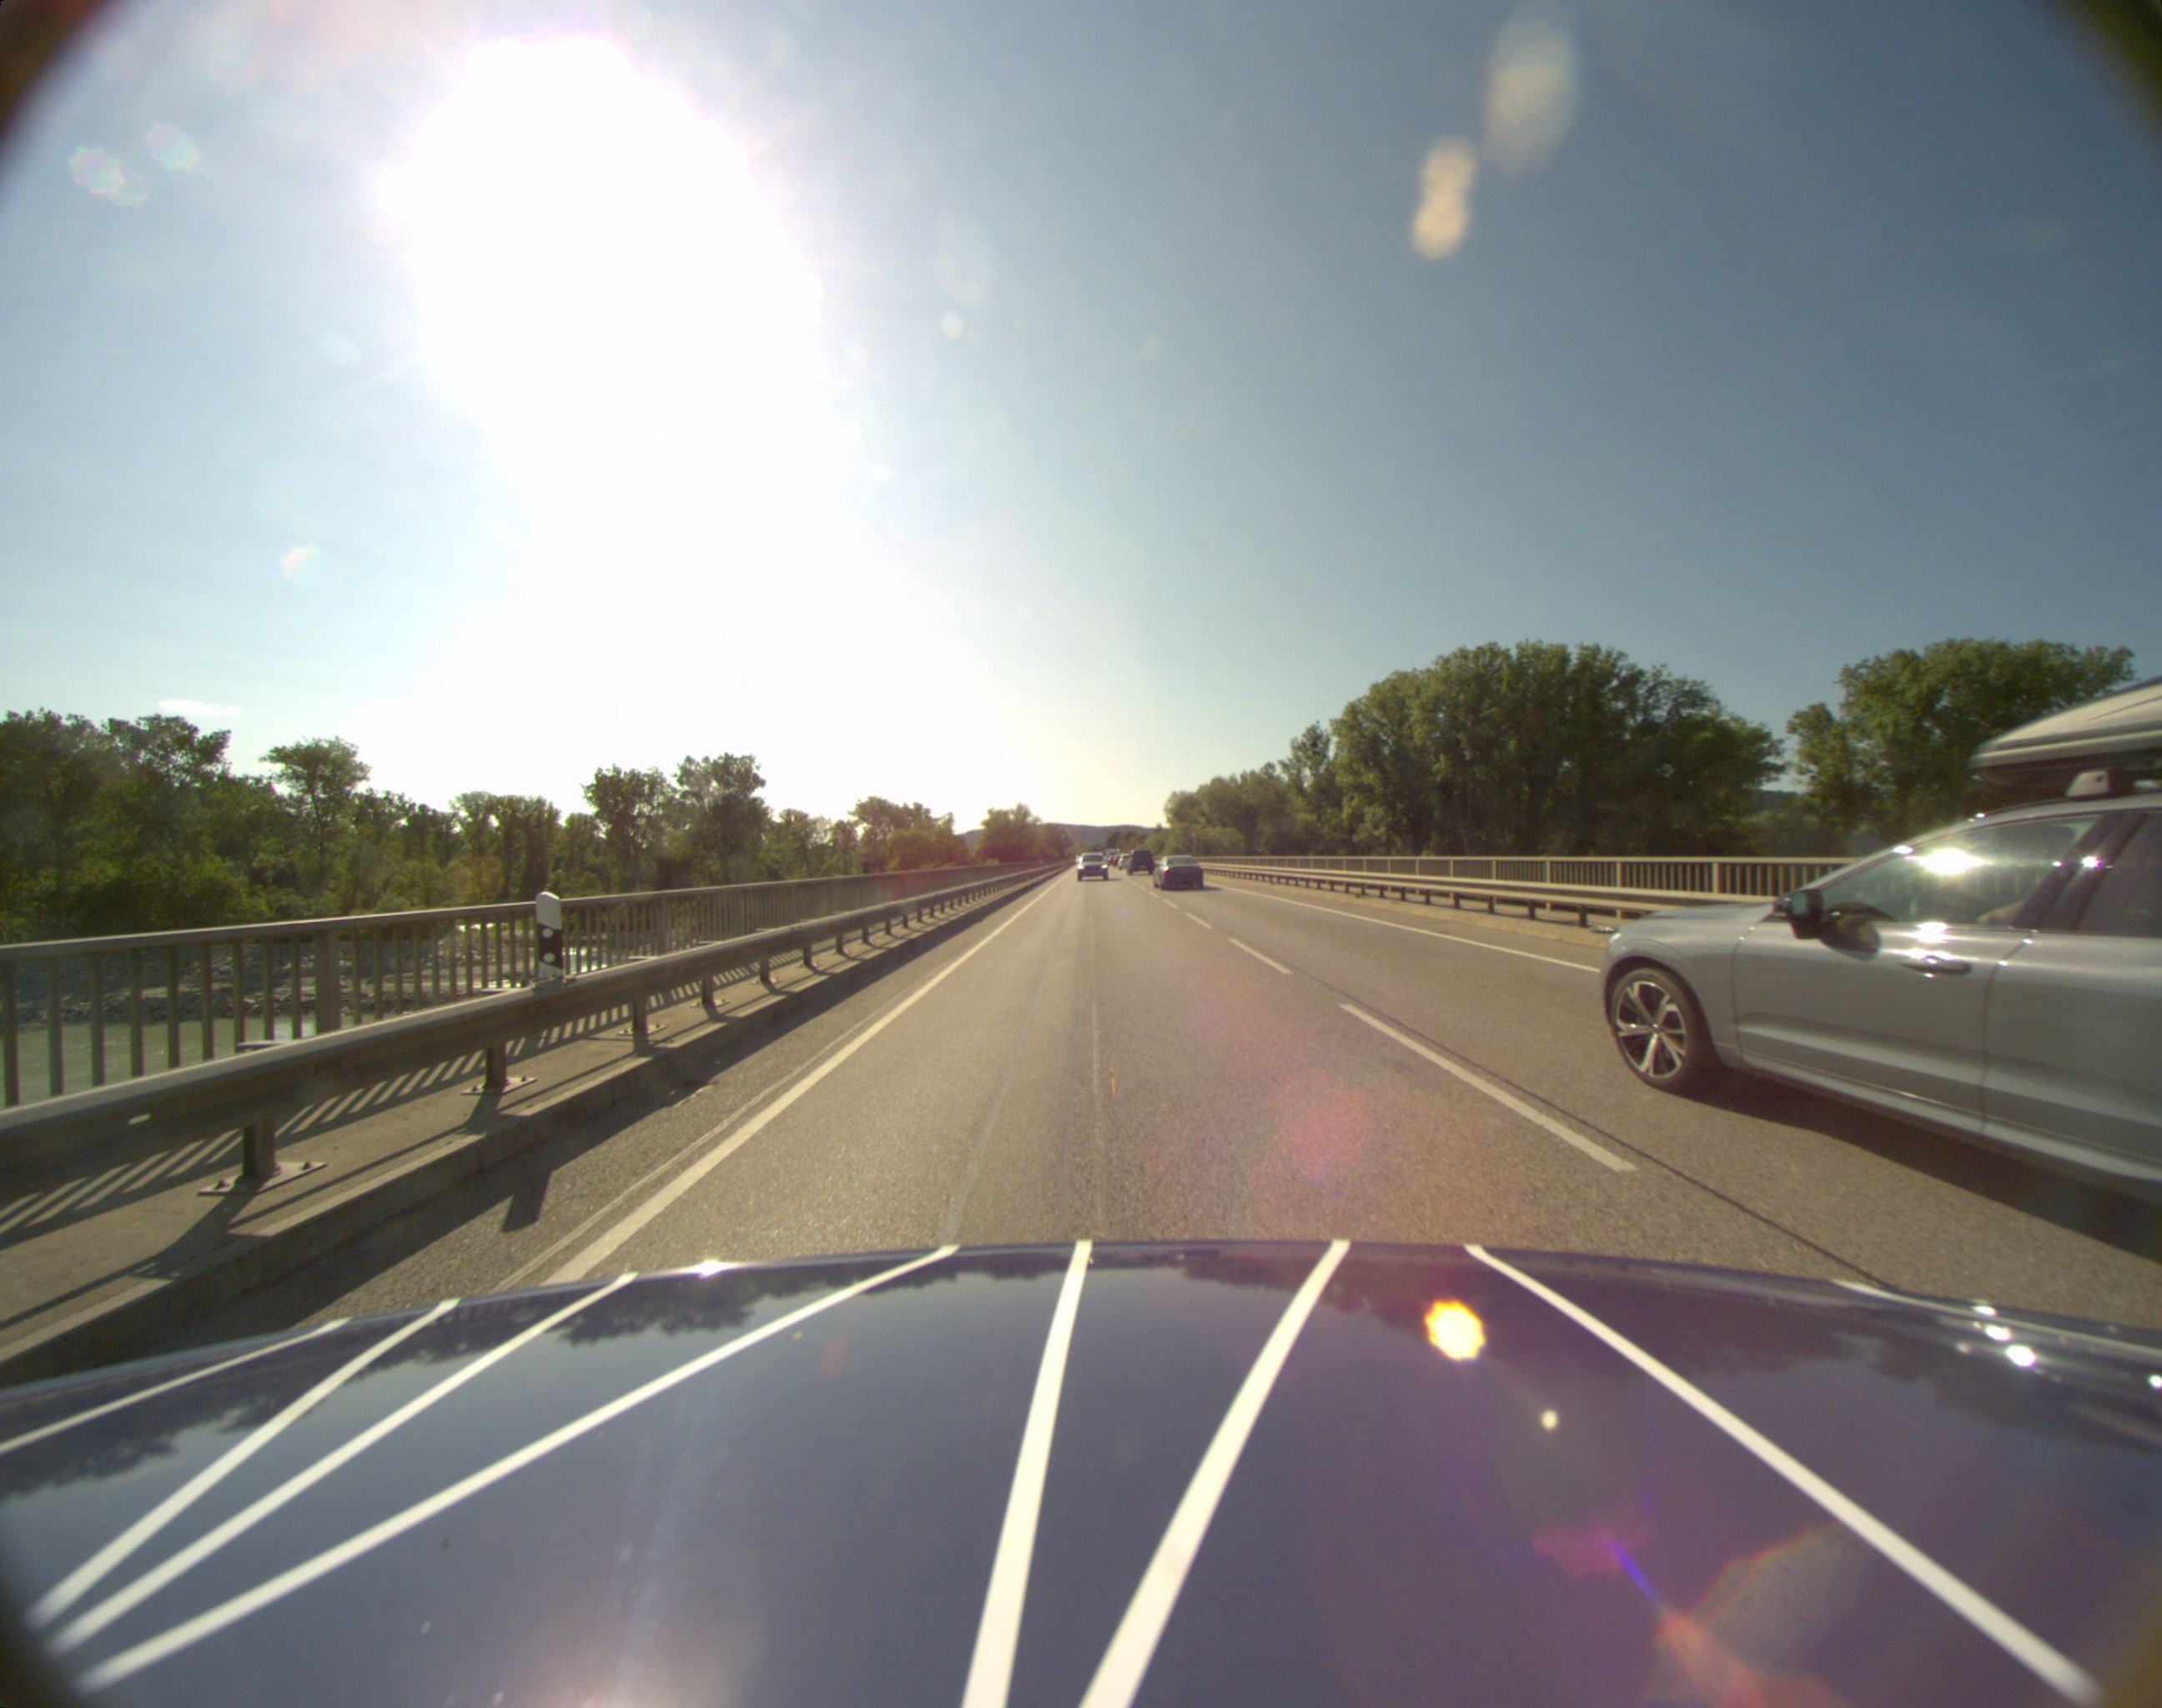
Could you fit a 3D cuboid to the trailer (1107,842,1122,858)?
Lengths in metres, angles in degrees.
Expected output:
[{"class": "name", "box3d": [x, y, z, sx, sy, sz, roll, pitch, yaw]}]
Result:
[{"class": "trailer", "box3d": [6.011, -0.762, 135.868, 2.561, 2.721, 8.063, -3, 0, 3]}]

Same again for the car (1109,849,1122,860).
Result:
[{"class": "car", "box3d": [5.509, 0.084, 120.317, 1.807, 1.651, 4.432, -2, 0, 0]}]

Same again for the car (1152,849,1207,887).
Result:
[{"class": "car", "box3d": [4.210, 0.545, 33.068, 1.770, 1.439, 4.456, -3, 0, 0]}]

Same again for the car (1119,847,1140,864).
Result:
[{"class": "car", "box3d": [5.218, 0.159, 82.315, 1.988, 1.641, 4.598, -2, 0, 1]}]

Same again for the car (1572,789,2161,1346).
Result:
[{"class": "car", "box3d": [4.220, 0.612, 2.780, 1.859, 1.712, 4.565, -3, 0, 0]}]

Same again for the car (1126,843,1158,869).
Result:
[{"class": "car", "box3d": [4.679, 0.121, 59.230, 2.042, 1.863, 5.069, -2, 0, 0]}]

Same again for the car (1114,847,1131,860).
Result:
[{"class": "car", "box3d": [5.646, -0.044, 104.086, 1.954, 1.684, 4.476, -3, 0, 0]}]

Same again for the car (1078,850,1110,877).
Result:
[{"class": "car", "box3d": [0.878, 0.591, 49.384, 1.871, 1.598, 4.379, -3, 0, 2]}]
